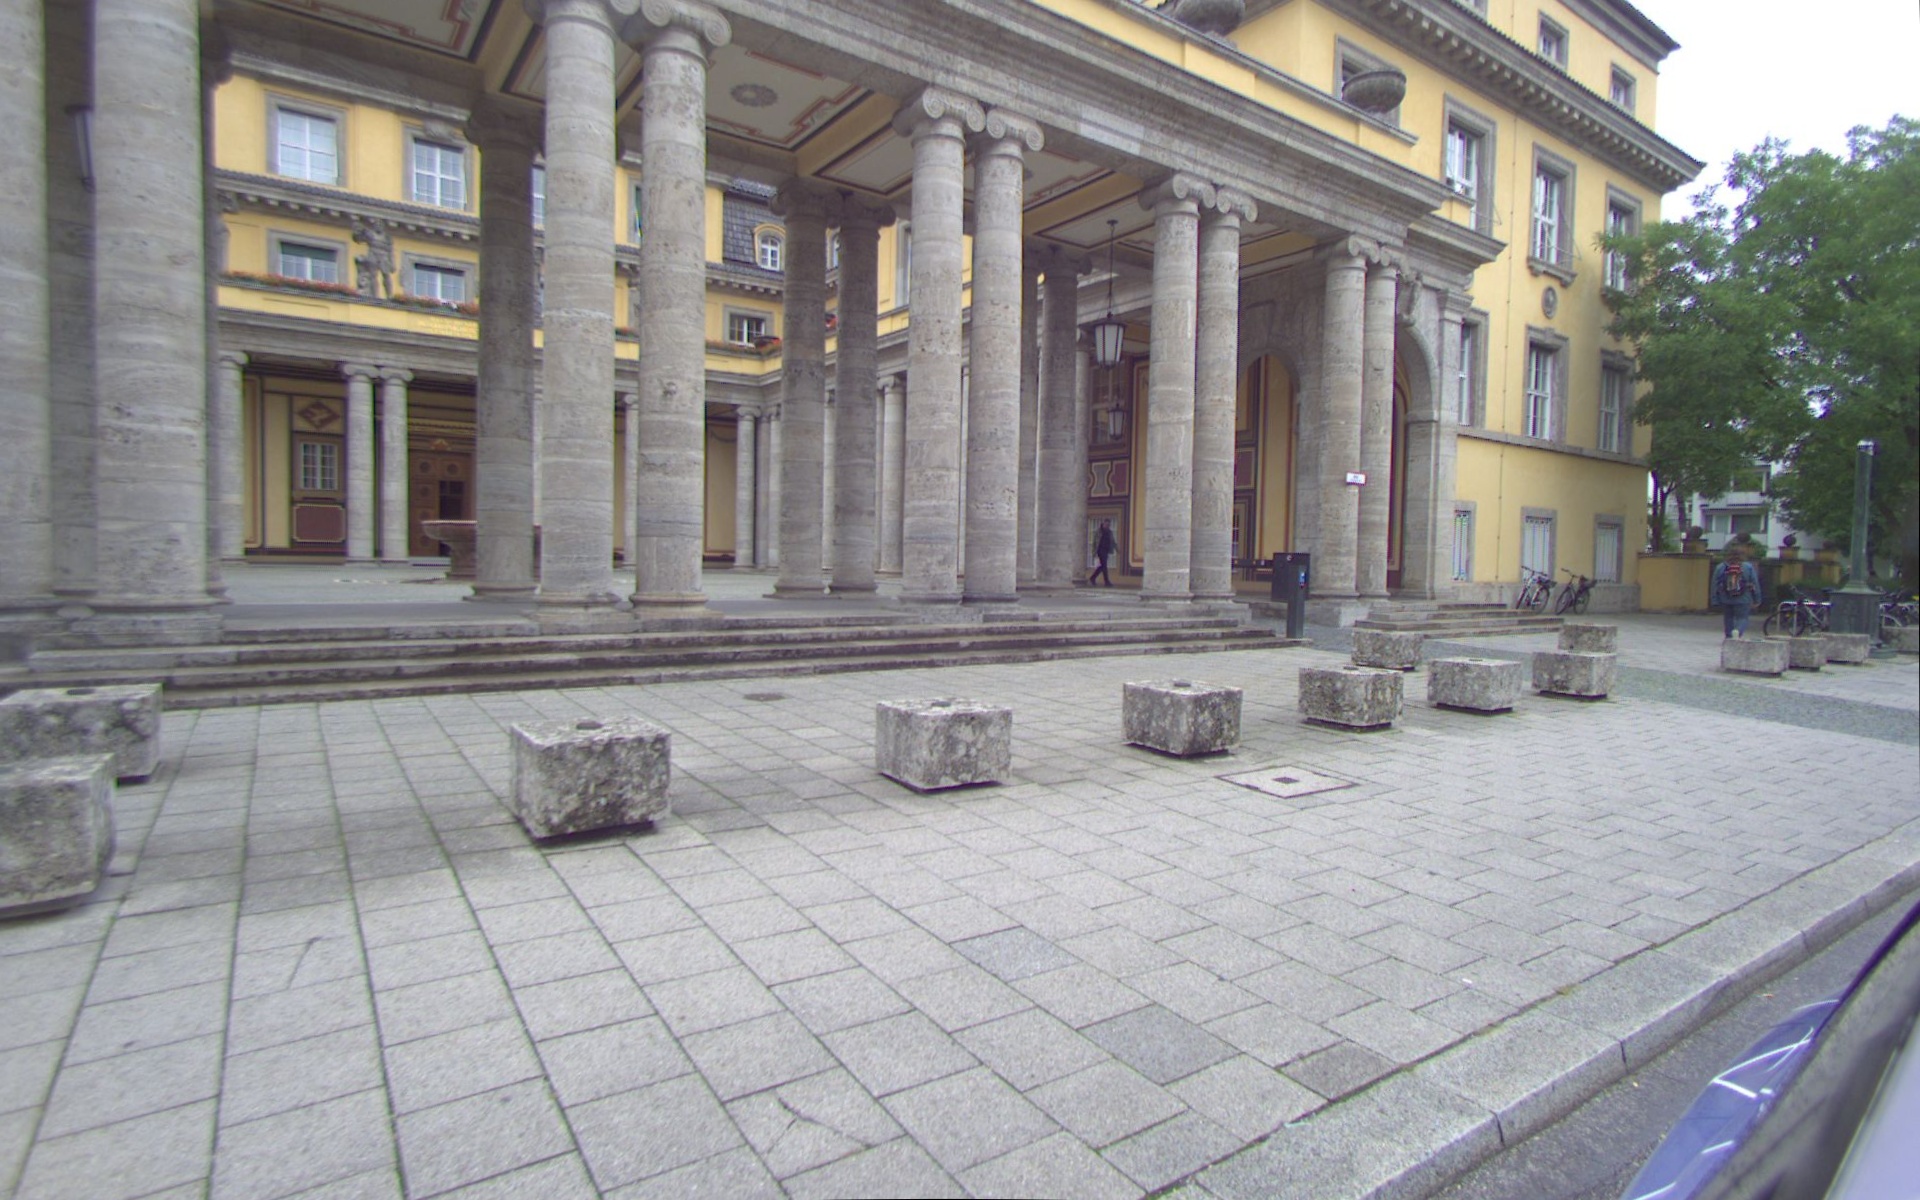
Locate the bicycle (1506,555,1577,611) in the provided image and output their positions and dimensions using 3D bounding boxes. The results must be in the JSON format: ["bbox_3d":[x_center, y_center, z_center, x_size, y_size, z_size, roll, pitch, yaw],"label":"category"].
[{"bbox_3d":[14.386,-0.428,25.013,2.221,1.323,0.602,-1,3,-35],"label":"bicycle"}]

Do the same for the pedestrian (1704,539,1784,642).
[{"bbox_3d":[13.969,-0.191,18.040,1.036,1.767,0.791,0,3,-36],"label":"pedestrian"}]

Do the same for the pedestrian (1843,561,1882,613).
[{"bbox_3d":[31.854,-0.480,35.722,0.825,1.764,0.742,-1,6,-35],"label":"pedestrian"}]

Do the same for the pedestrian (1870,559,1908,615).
[{"bbox_3d":[32.258,-0.461,35.153,0.805,1.886,0.660,-1,6,-35],"label":"pedestrian"}]

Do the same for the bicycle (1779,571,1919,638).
[{"bbox_3d":[18.621,0.068,21.095,2.260,1.071,0.592,11,9,44],"label":"bicycle"}]

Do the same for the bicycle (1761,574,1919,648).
[{"bbox_3d":[17.313,0.186,19.939,2.260,1.107,0.592,11,9,44],"label":"bicycle"}]

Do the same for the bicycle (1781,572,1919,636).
[{"bbox_3d":[19.222,0.055,21.799,2.260,1.035,0.592,11,9,44],"label":"bicycle"}]

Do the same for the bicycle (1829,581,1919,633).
[{"bbox_3d":[21.128,0.169,22.758,0.590,1.022,2.267,1,4,-32],"label":"bicycle"}]

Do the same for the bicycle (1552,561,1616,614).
[{"bbox_3d":[16.268,-0.334,26.359,2.124,1.323,0.602,-1,3,-36],"label":"bicycle"}]

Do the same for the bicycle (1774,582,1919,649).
[{"bbox_3d":[16.691,0.279,18.765,0.666,1.018,2.367,-1,6,-43],"label":"bicycle"}]

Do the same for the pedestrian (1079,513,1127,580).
[{"bbox_3d":[3.840,-1.420,27.143,0.981,1.742,0.794,-1,0,44],"label":"pedestrian"}]

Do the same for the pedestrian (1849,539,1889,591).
[{"bbox_3d":[34.154,-1.310,38.020,1.016,1.886,0.783,-1,6,-35],"label":"pedestrian"}]
